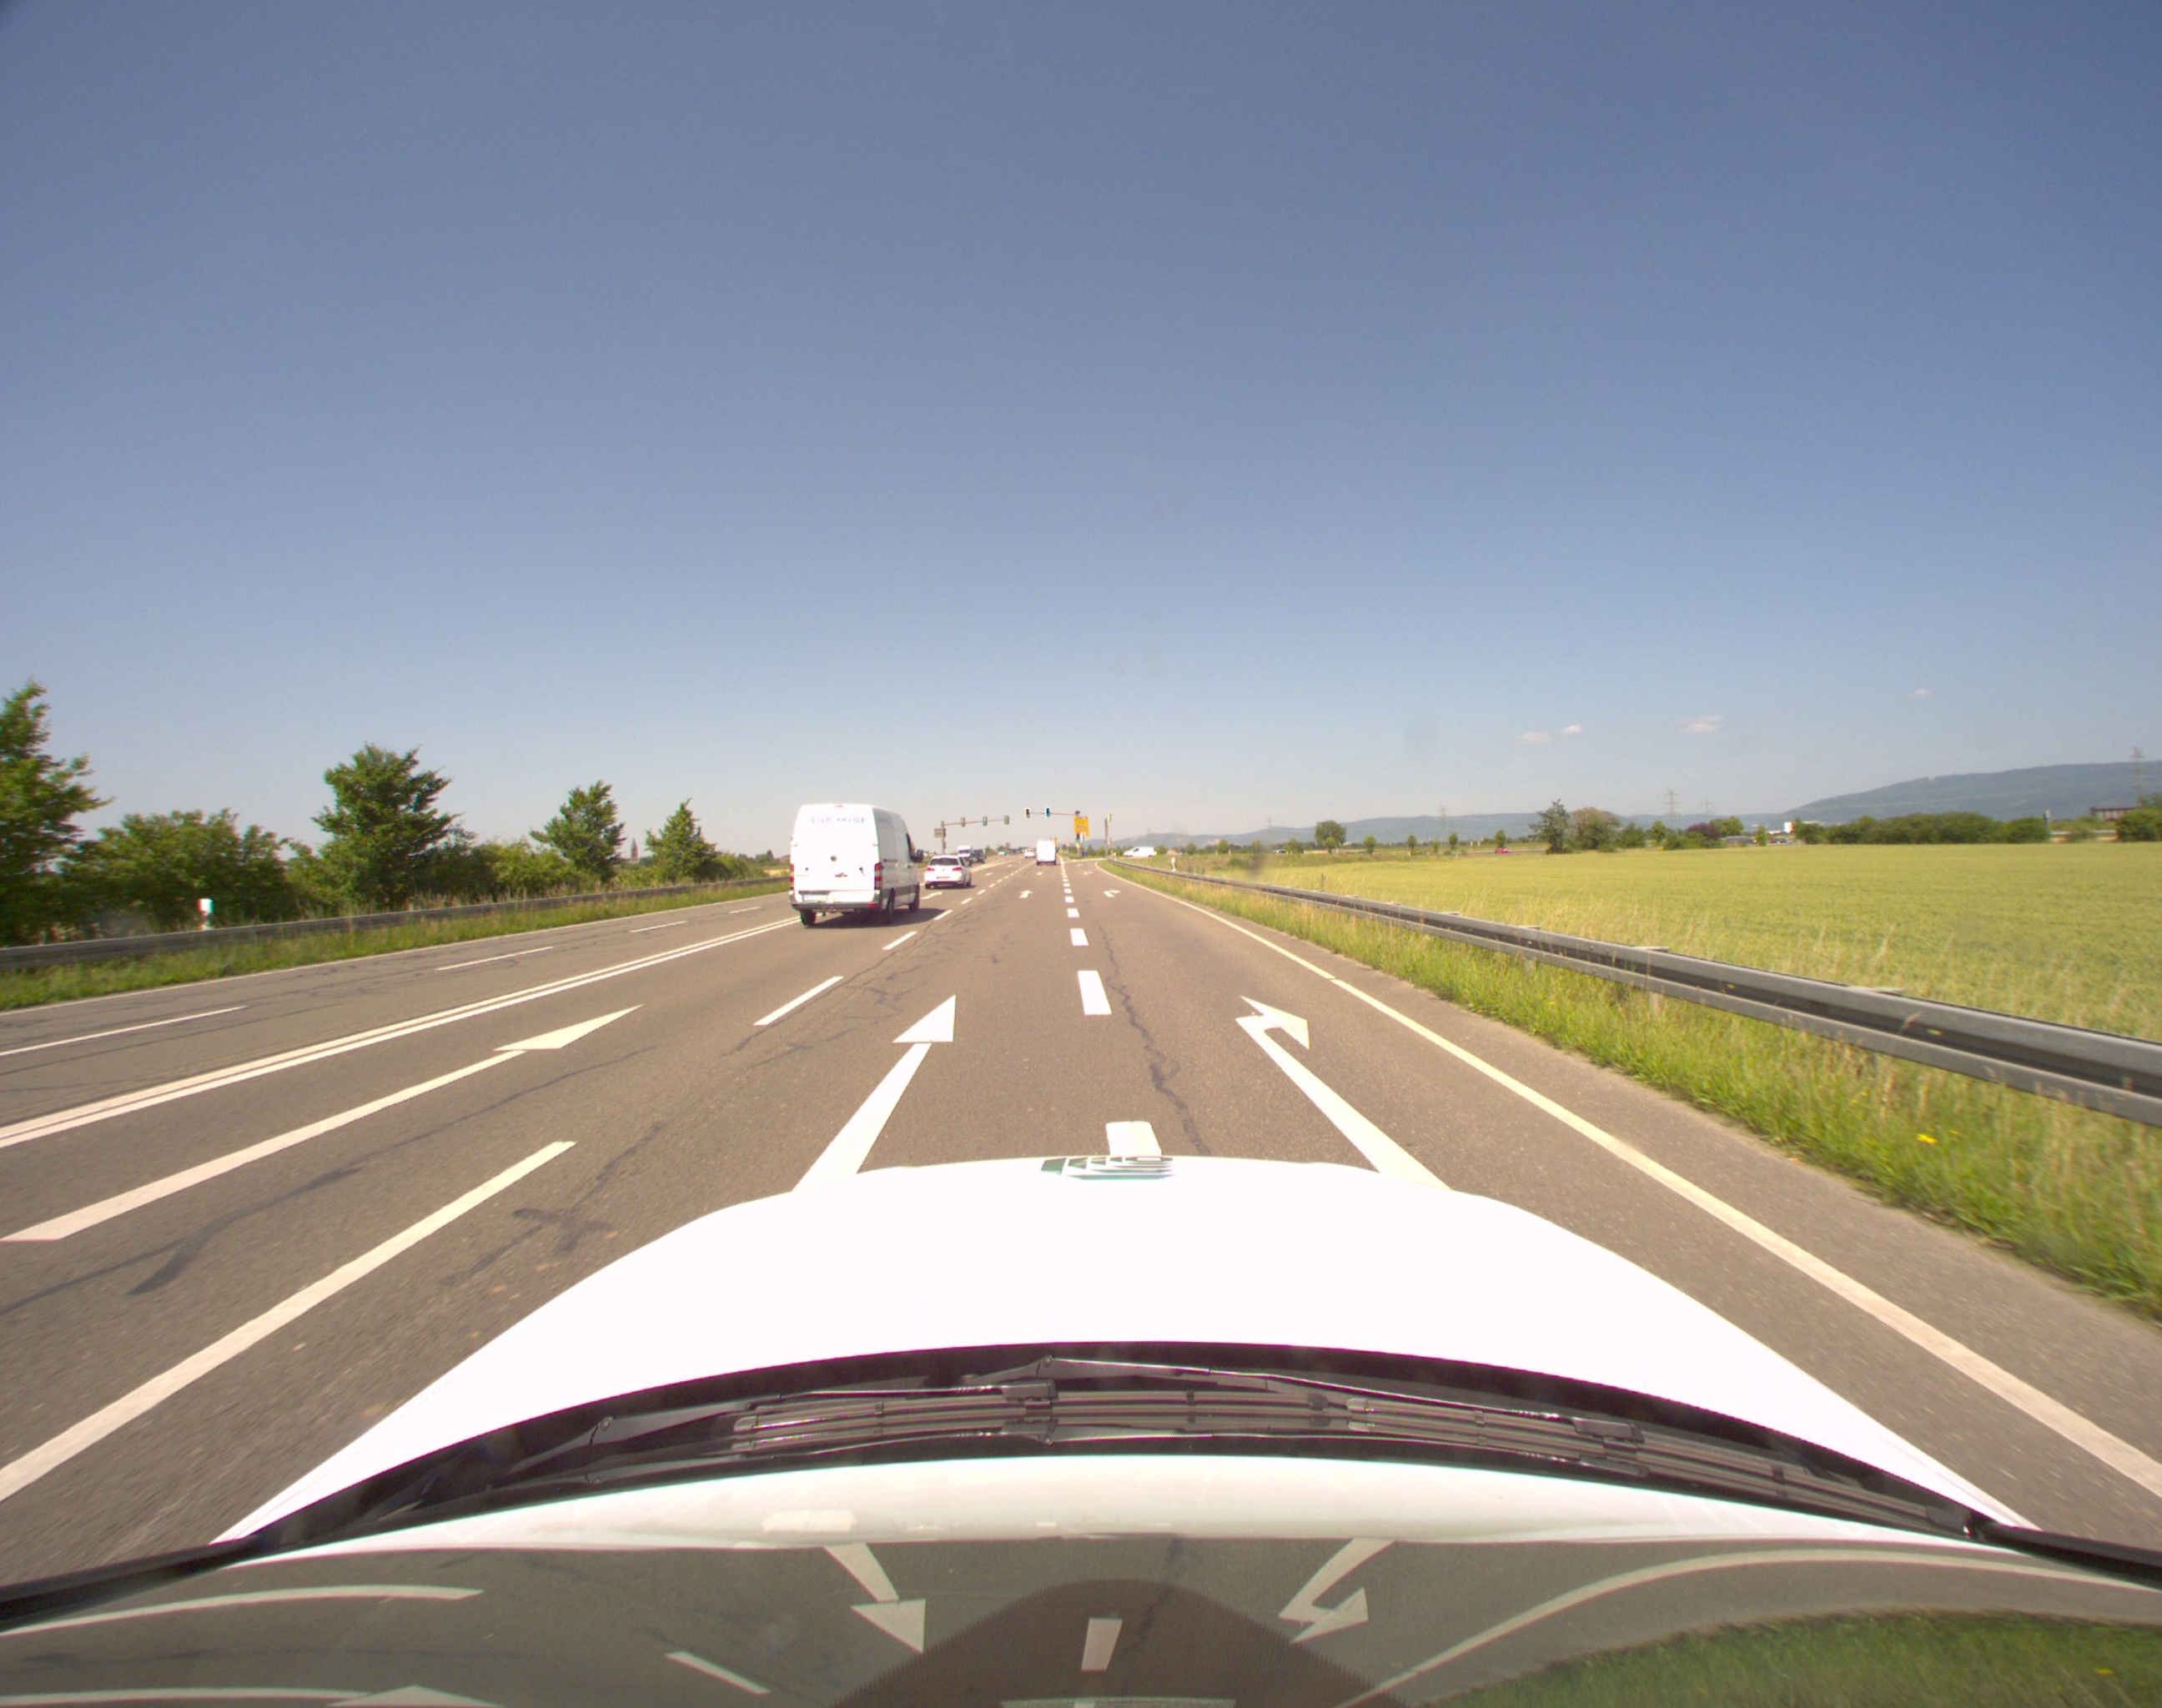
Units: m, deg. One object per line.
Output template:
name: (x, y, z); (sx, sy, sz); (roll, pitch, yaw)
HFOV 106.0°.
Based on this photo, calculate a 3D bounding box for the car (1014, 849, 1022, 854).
car: (-19.461, -0.785, 251.426); (1.986, 1.618, 4.001); (0, -1, 2)

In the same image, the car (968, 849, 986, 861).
car: (-13.564, 0.169, 106.381); (1.852, 1.423, 3.998); (-1, -1, -1)

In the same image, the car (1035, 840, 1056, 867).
car: (-3.618, -0.045, 83.942); (1.988, 2.695, 4.965); (-1, 0, -2)

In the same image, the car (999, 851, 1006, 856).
car: (-21.430, -0.167, 221.756); (1.458, 1.274, 3.331); (-1, -1, -1)

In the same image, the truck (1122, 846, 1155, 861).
truck: (9.173, -0.134, 129.487); (4.855, 2.320, 1.989); (0, -1, -17)

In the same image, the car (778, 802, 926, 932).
car: (-5.266, 0.253, 19.670); (2.034, 2.620, 5.737); (-2, 0, -2)

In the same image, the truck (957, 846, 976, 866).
truck: (-17.758, 0.335, 126.374); (2.290, 2.957, 5.280); (-1, -1, -1)

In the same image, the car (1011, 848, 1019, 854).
car: (-17.649, -0.749, 217.612); (1.629, 1.486, 4.001); (0, -1, 1)

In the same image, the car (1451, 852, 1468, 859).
car: (81.838, 0.435, 176.220); (3.497, 1.486, 1.633); (0, -1, -32)

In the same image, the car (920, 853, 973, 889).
car: (-6.035, 0.728, 36.929); (1.795, 1.508, 4.192); (-1, 0, -2)

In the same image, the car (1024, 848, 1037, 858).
car: (-8.781, -0.129, 141.992); (1.988, 1.703, 4.272); (0, -1, -2)
